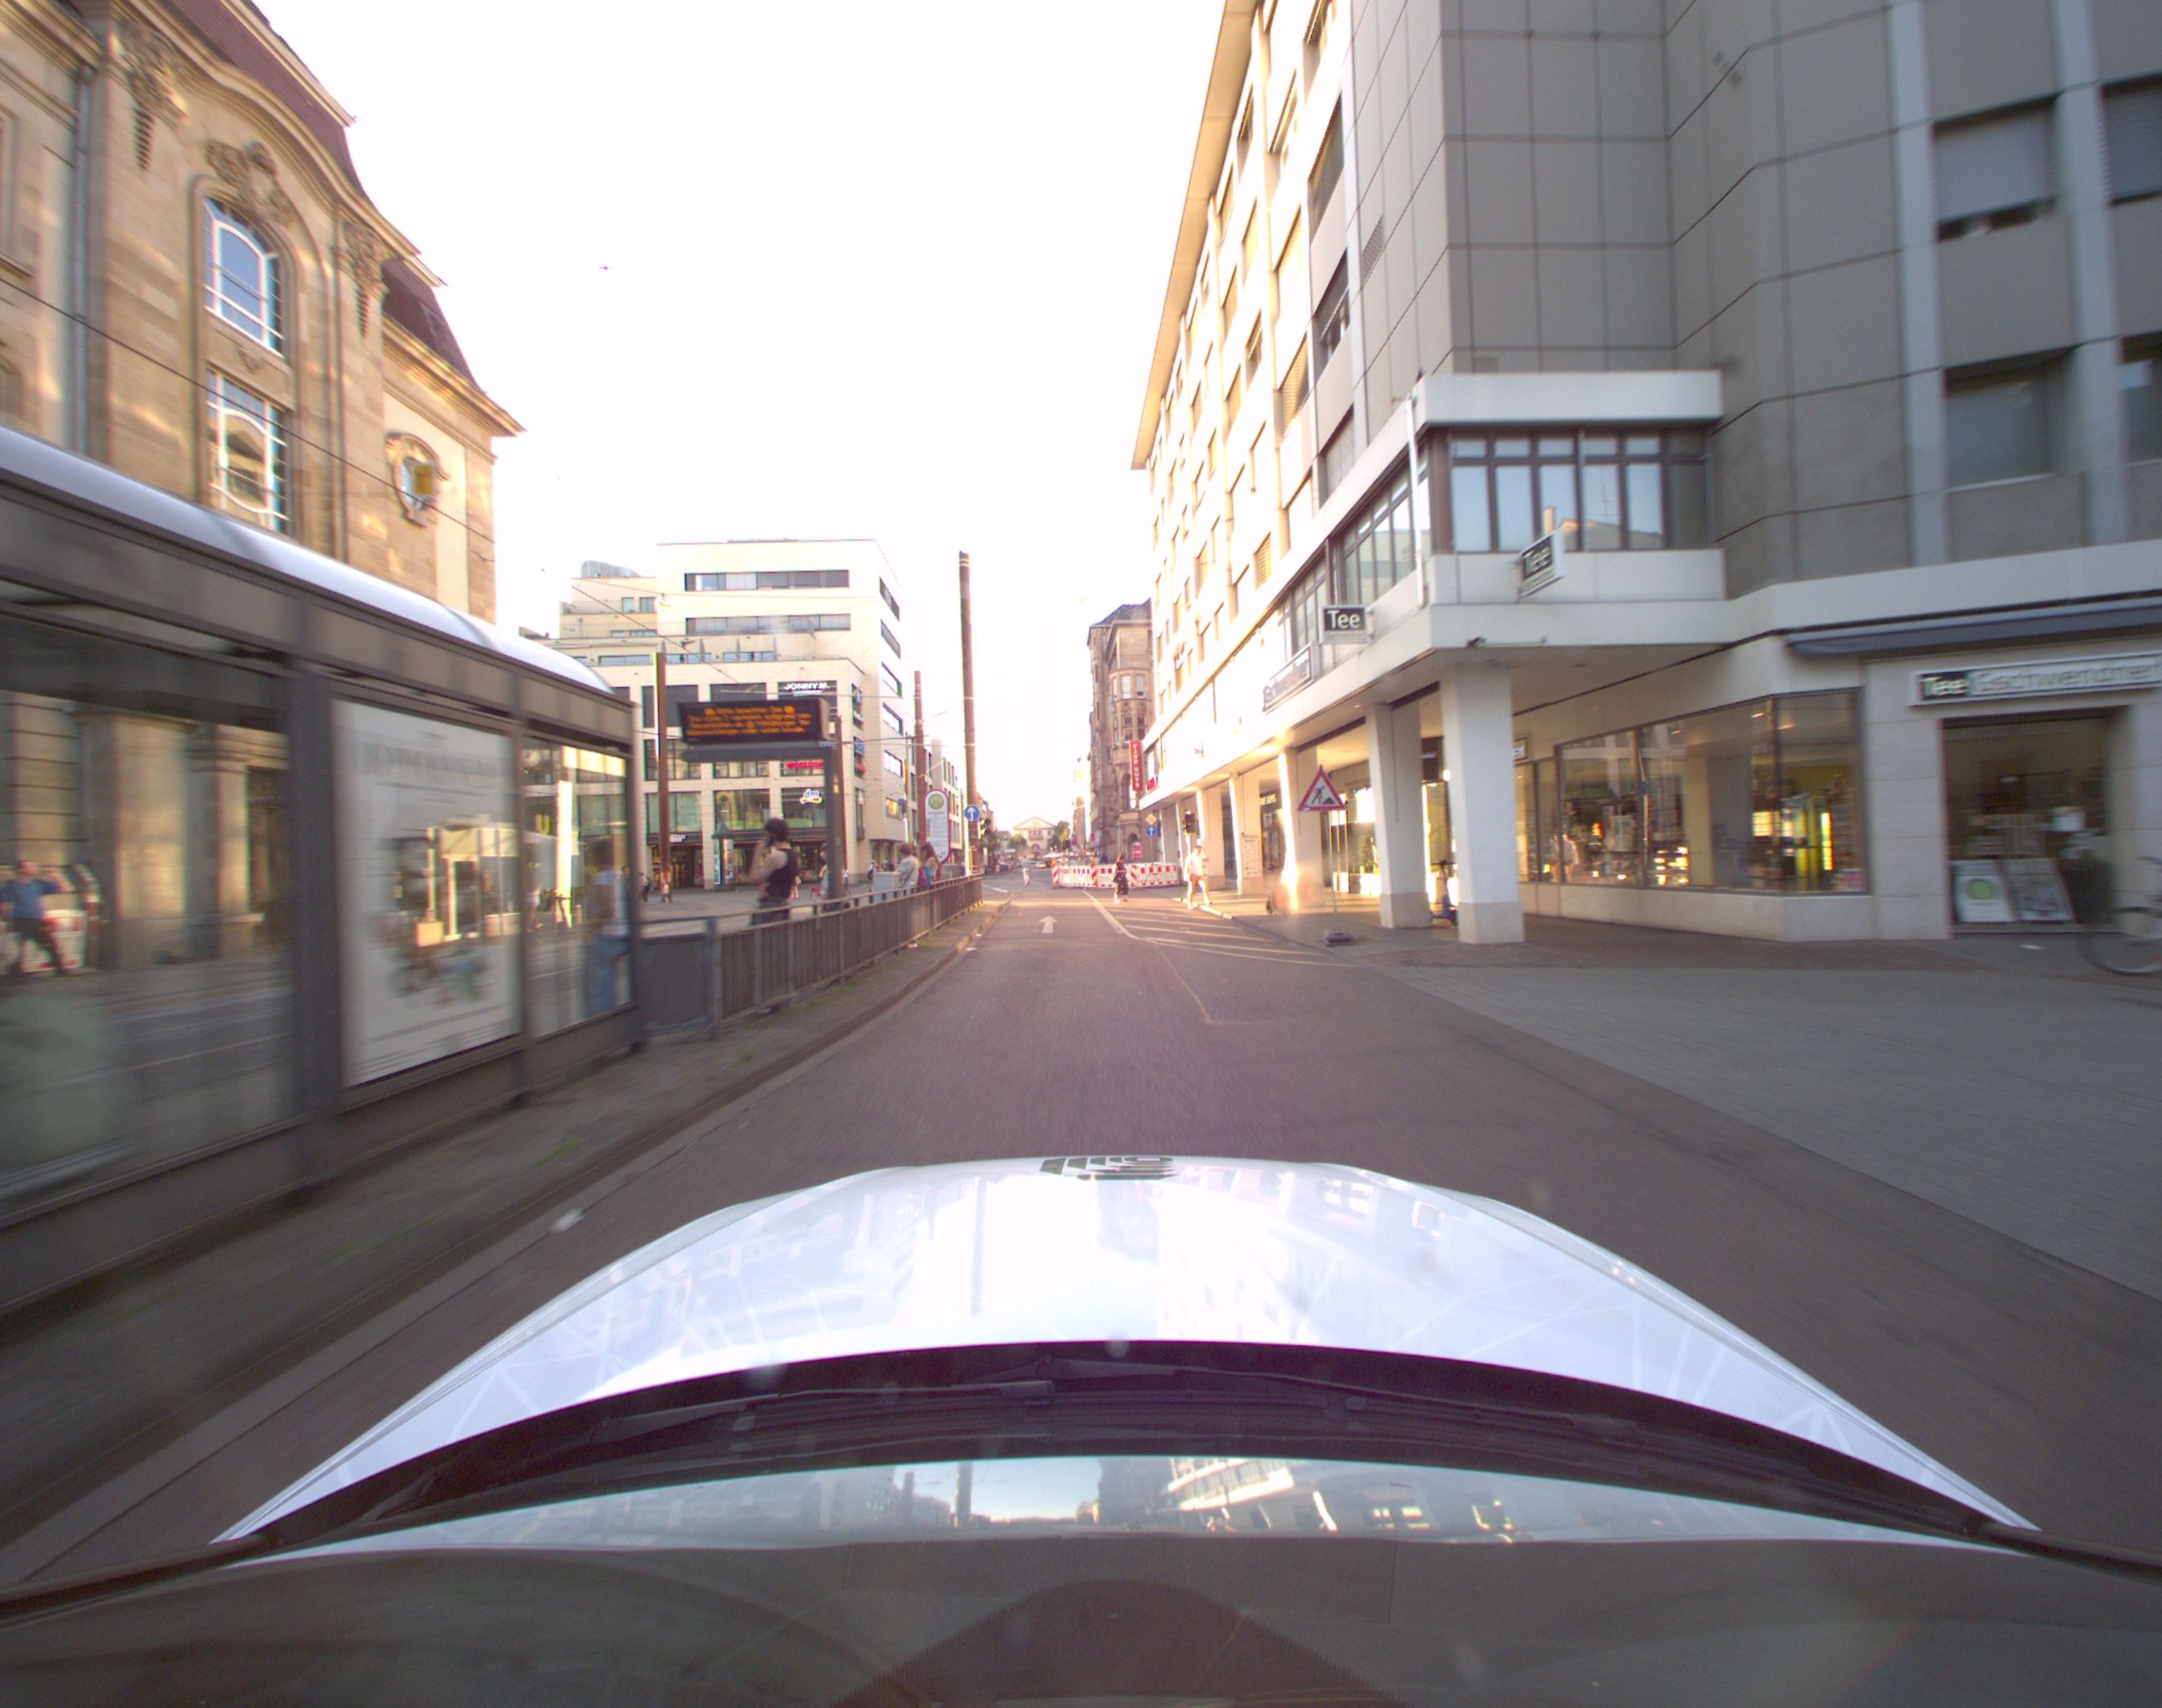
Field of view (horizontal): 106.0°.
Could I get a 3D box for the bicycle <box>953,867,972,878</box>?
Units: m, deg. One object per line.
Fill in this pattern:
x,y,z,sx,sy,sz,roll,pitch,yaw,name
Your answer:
-13.360,2.087,91.817,1.980,1.122,0.552,0,-1,-32,bicycle

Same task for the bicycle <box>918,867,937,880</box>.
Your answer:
-13.811,1.729,73.295,1.691,1.122,0.451,-1,-1,-1,bicycle

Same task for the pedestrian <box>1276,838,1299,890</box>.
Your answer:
7.200,0.351,28.442,0.695,1.815,0.632,-1,-1,8,pedestrian

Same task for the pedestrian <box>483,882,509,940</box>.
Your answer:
-16.041,1.549,22.338,0.503,1.525,0.514,-1,-1,-32,pedestrian

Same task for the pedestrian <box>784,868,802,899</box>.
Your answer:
-15.133,1.536,42.818,0.774,1.614,0.661,-2,-1,-28,pedestrian

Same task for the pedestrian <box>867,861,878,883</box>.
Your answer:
-17.766,1.531,69.483,0.569,1.855,0.818,-1,-1,9,pedestrian

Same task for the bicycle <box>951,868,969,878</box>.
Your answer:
-13.752,2.176,92.742,1.980,1.122,0.552,0,-1,-32,bicycle

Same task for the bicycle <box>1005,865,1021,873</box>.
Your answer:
-9.564,2.100,114.805,2.142,1.029,0.640,-2,-1,-1,bicycle

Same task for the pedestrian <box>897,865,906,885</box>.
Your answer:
-16.155,1.878,73.317,0.781,1.751,0.599,-1,-1,-6,pedestrian

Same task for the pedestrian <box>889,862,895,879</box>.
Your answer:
-16.844,1.454,72.723,0.389,1.515,0.505,-2,-1,-4,pedestrian

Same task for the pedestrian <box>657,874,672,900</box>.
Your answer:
-20.341,1.595,39.804,0.408,1.243,0.486,-2,-1,12,pedestrian

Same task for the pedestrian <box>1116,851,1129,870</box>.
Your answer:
3.530,0.549,68.646,0.811,1.611,0.718,-2,-1,41,pedestrian

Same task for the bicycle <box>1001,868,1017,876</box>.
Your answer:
-10.261,2.622,116.038,2.142,1.029,0.640,-2,-1,-1,bicycle

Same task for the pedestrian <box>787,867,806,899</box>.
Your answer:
-14.741,1.510,42.176,0.825,1.614,0.687,-2,-1,-28,pedestrian

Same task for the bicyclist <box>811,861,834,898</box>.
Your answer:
-11.514,1.138,36.302,0.787,1.593,0.609,-2,-1,-2,bicyclist

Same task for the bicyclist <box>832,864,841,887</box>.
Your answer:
-15.464,1.376,51.510,0.419,1.427,0.563,-1,-1,-1,bicyclist

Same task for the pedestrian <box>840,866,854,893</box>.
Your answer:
-14.746,1.605,51.350,0.645,1.674,0.531,-2,-1,6,pedestrian

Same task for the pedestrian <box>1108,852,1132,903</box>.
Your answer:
1.311,0.772,27.479,0.699,1.693,0.539,-1,-1,-10,pedestrian

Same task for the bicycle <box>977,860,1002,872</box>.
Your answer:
-11.066,1.440,98.857,2.904,1.255,0.796,-2,-1,-29,bicycle

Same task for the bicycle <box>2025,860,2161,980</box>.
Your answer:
9.992,0.600,7.382,0.766,1.028,1.847,-1,1,1,bicycle

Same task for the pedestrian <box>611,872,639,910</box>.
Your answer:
-20.321,1.648,36.292,0.959,1.628,0.695,-2,-1,29,pedestrian

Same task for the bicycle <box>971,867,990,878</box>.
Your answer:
-10.963,2.004,88.501,1.980,1.122,0.552,0,-1,-32,bicycle

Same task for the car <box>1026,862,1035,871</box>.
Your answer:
-11.073,2.786,178.832,1.989,1.904,3.995,-1,-1,-3,car

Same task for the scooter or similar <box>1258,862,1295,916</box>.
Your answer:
4.647,0.823,19.412,0.504,1.234,1.178,-2,-1,-3,scooter or similar

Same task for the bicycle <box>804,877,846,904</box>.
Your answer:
-11.395,1.609,36.281,1.615,1.103,0.629,-3,-1,-1,bicycle

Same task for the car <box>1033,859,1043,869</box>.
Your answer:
-8.352,1.916,158.966,1.989,1.904,3.995,-1,-1,-3,car

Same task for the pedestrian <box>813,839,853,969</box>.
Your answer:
-3.239,0.641,10.661,0.385,1.642,0.548,-1,-1,-4,pedestrian

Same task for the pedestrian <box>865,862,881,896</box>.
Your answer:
-10.748,1.271,42.027,0.745,1.700,0.606,-2,-1,-17,pedestrian

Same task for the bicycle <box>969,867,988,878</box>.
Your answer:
-11.188,2.018,89.206,1.980,1.122,0.552,0,-1,-32,bicycle

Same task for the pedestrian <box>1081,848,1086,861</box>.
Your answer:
0.338,0.107,111.794,0.642,1.690,0.670,-2,-1,-5,pedestrian

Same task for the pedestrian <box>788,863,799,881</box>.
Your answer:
-25.033,1.542,70.797,0.569,1.526,0.792,-1,-1,9,pedestrian

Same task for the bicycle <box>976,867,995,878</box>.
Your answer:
-10.320,1.985,87.785,1.980,1.122,0.552,0,-1,-32,bicycle

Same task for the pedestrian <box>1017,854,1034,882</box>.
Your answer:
-3.525,0.870,51.747,0.860,1.761,0.770,-1,-1,9,pedestrian

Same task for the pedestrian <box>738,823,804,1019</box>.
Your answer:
-2.908,0.606,7.665,0.411,1.767,0.593,-1,-1,-4,pedestrian

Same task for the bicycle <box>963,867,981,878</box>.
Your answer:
-12.027,2.042,90.015,1.980,1.122,0.552,0,-1,-32,bicycle

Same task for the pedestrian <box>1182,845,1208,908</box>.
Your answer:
3.388,0.665,24.160,0.695,1.815,0.854,-1,-1,8,pedestrian

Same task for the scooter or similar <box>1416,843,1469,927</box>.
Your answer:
6.776,0.564,15.299,0.313,1.488,1.314,-2,-1,-2,scooter or similar

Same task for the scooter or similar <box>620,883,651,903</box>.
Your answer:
-21.384,1.867,39.087,1.082,0.904,0.896,-2,-1,36,scooter or similar

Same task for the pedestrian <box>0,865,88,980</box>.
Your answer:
-16.630,1.070,13.021,0.619,1.776,0.705,-1,-1,-6,pedestrian

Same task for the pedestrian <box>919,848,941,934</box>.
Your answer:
-2.921,0.708,15.784,0.356,1.642,0.502,-1,-1,-4,pedestrian

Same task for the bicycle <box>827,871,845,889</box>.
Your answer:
-15.500,1.645,51.546,0.571,1.098,2.021,-1,-1,-1,bicycle

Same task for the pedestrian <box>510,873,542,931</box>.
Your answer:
-15.036,1.297,22.073,0.496,1.525,0.531,-2,-1,30,pedestrian

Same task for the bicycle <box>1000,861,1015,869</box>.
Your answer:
-10.636,1.598,118.279,2.142,1.029,0.640,-2,-1,-1,bicycle

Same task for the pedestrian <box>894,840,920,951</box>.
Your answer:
-2.881,0.675,13.499,0.341,1.796,0.544,-1,-1,-4,pedestrian

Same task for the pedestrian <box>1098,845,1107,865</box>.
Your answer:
1.837,0.099,68.203,0.624,1.690,0.670,-2,-1,-5,pedestrian

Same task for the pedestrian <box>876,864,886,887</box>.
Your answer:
-14.592,1.582,59.393,0.527,1.674,0.650,-2,-1,-2,pedestrian

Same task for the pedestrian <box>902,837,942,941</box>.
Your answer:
-2.771,0.608,14.239,0.537,1.767,0.595,-1,-1,3,pedestrian

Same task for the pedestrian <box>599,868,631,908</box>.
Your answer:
-19.929,1.448,34.855,0.829,1.628,0.804,-2,-1,3,pedestrian

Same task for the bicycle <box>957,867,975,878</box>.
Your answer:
-12.881,2.072,91.239,1.980,1.122,0.552,0,-1,-32,bicycle
